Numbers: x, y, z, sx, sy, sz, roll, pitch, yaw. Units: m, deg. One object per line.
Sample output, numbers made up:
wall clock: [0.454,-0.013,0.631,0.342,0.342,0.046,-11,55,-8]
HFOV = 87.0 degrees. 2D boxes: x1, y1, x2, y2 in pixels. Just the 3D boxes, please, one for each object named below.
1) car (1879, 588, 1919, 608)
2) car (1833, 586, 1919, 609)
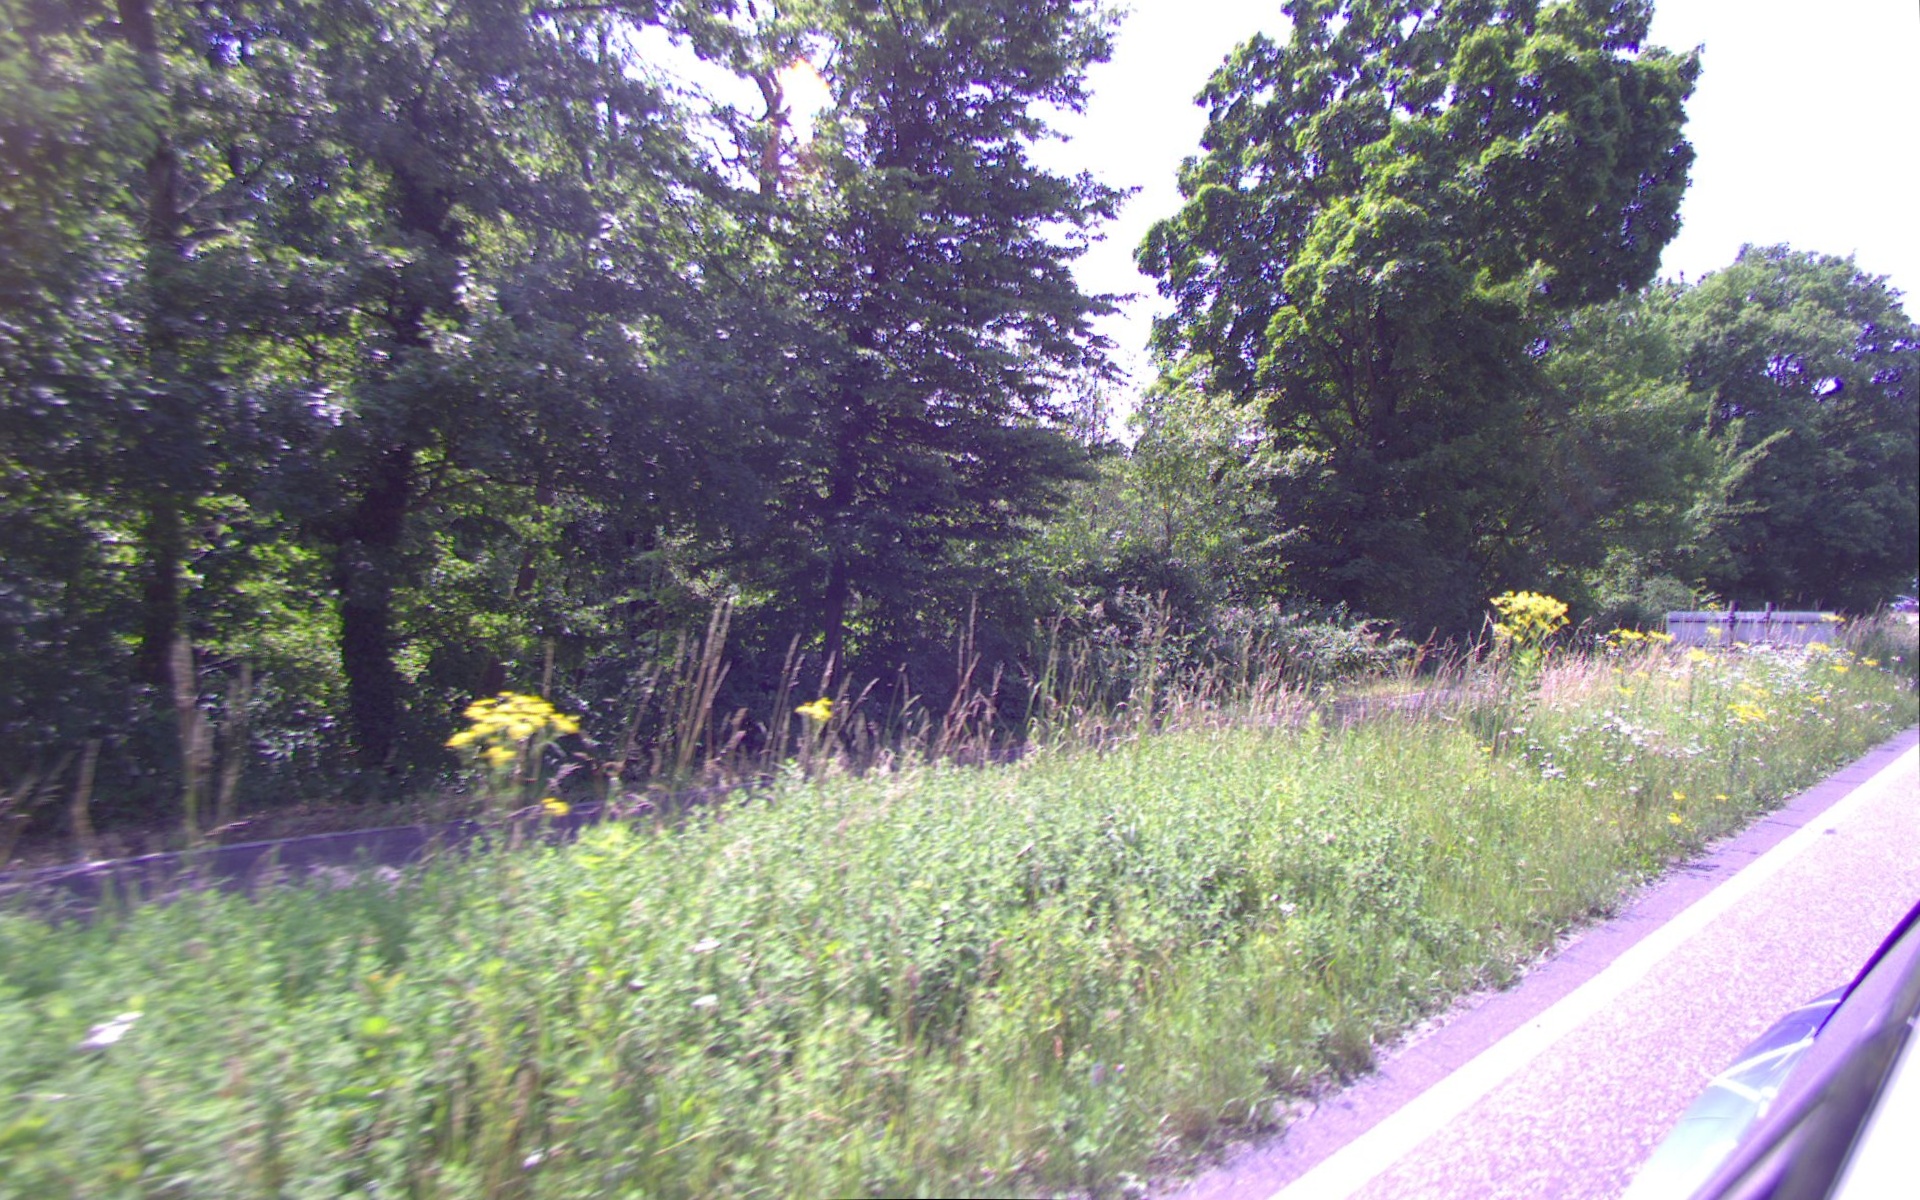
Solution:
car: [74.593,-0.116,78.930,1.961,1.464,4.100,0,3,-41]
car: [70.774,-0.193,78.052,1.984,1.516,4.946,-1,3,-38]
